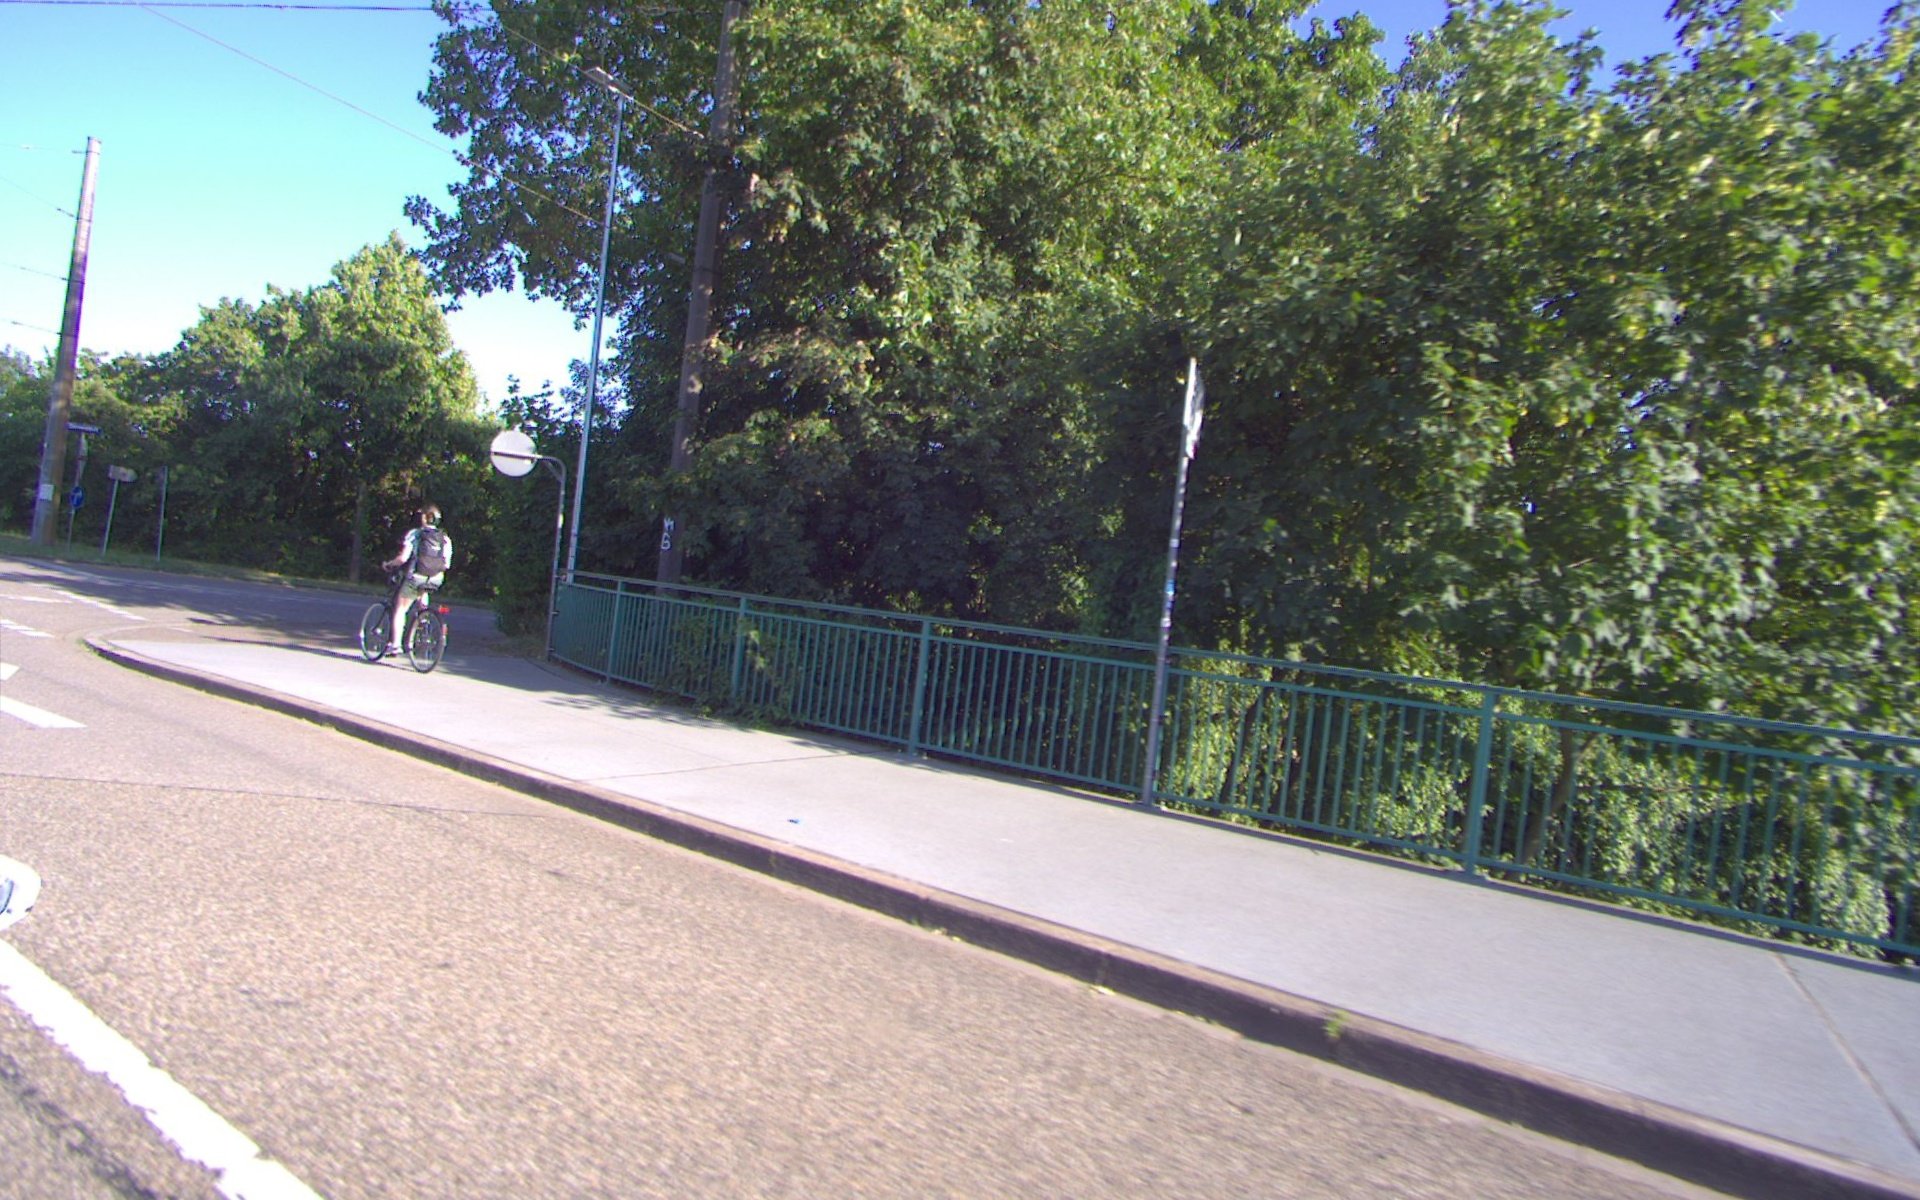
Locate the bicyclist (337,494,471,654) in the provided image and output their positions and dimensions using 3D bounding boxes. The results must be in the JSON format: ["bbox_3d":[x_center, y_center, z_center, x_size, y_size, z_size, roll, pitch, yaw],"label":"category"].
[{"bbox_3d":[-6.515,-0.307,11.783,1.182,1.710,0.732,7,0,32],"label":"bicyclist"}]

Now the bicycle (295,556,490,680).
[{"bbox_3d":[-6.741,0.183,11.875,2.697,1.136,0.732,7,-1,33],"label":"bicycle"}]
